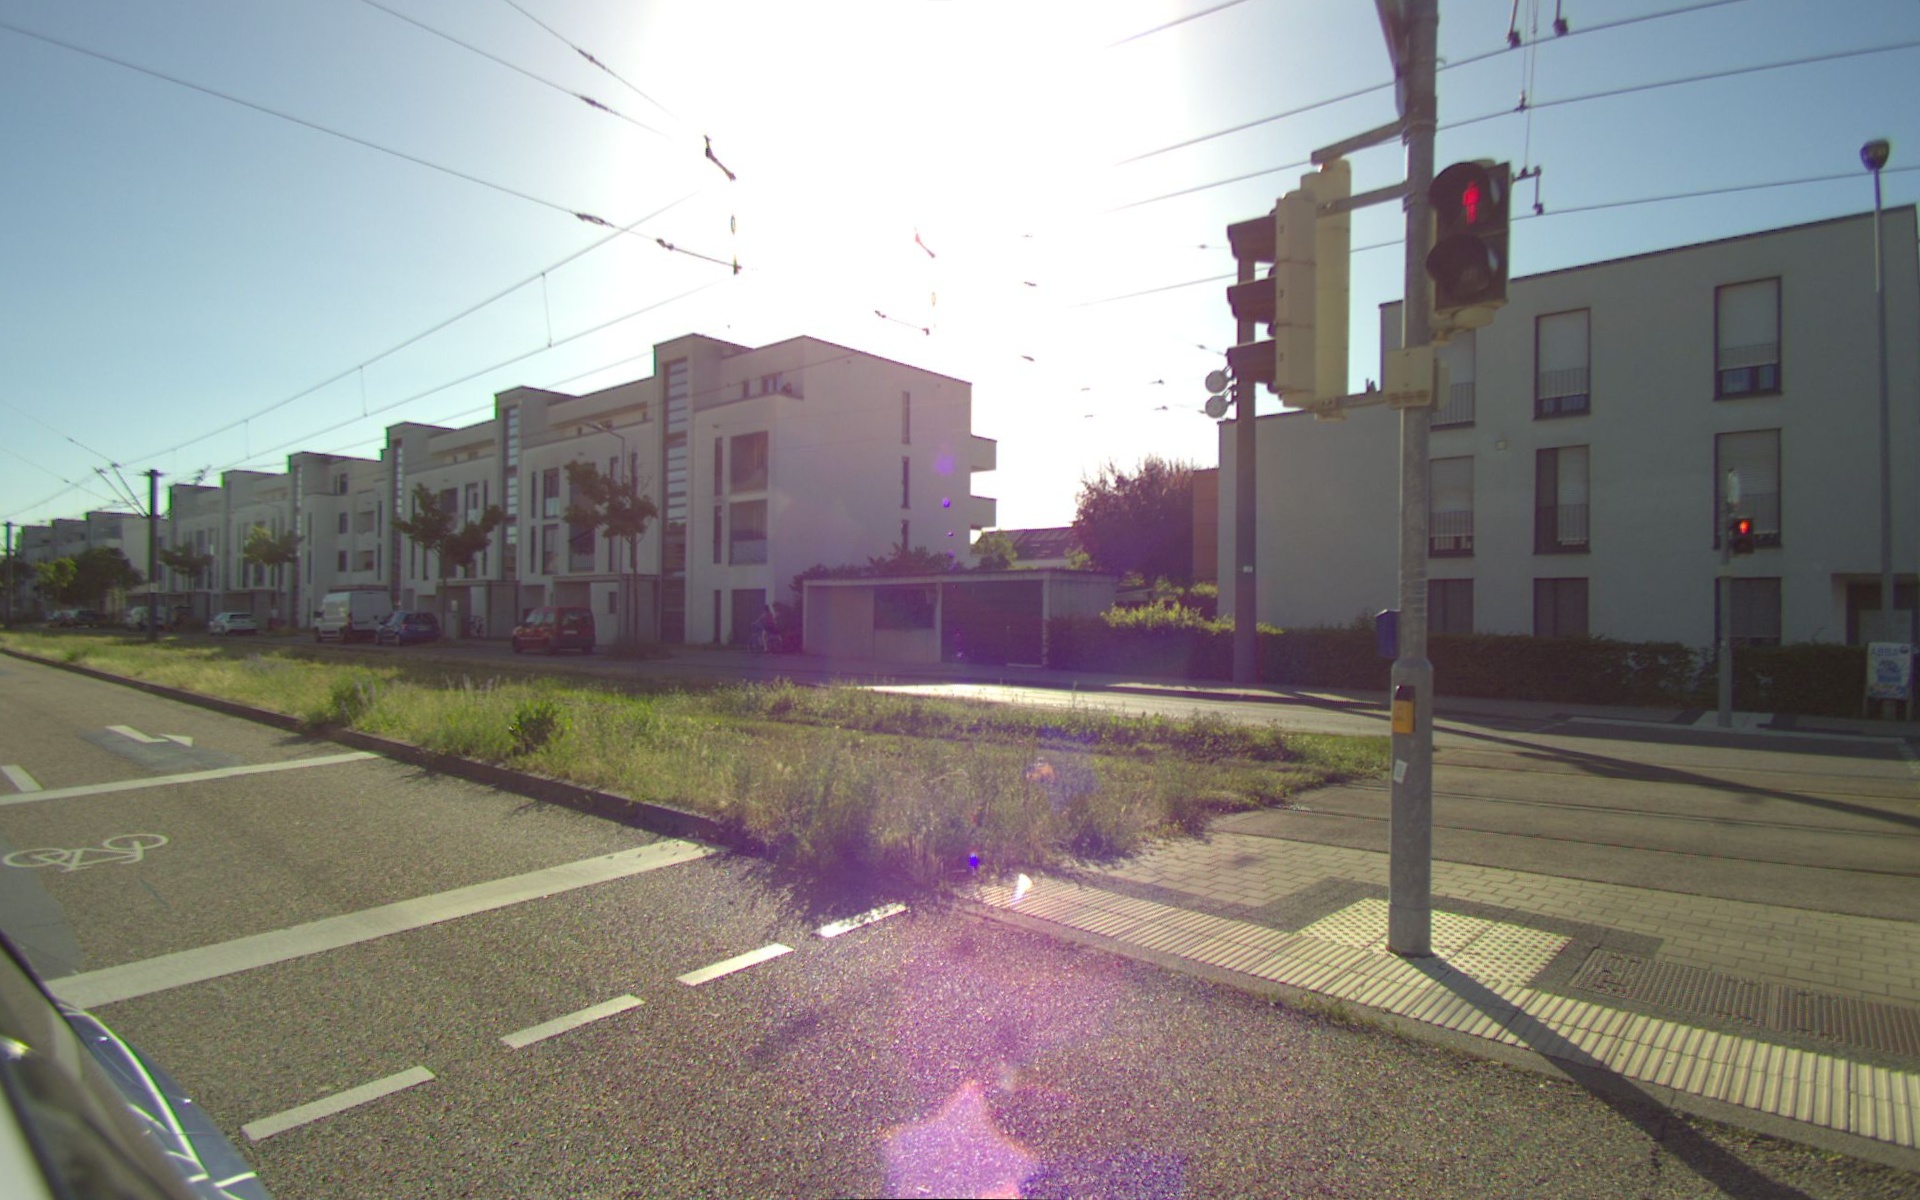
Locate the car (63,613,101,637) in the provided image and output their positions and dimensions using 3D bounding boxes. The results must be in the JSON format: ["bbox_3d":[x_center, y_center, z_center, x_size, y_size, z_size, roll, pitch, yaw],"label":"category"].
[{"bbox_3d":[-77.093,2.155,88.852,3.995,2.029,1.766,-1,0,38],"label":"car"}]

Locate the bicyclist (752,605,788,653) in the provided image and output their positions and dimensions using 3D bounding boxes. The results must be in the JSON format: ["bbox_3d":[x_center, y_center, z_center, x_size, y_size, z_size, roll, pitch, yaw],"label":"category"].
[{"bbox_3d":[-6.110,0.936,32.574,0.744,1.502,0.881,-1,-2,36],"label":"bicyclist"}]

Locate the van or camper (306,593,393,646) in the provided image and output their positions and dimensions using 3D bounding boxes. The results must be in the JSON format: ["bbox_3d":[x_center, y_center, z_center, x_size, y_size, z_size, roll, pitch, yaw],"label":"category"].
[{"bbox_3d":[-30.303,0.971,50.152,5.258,2.483,2.169,-1,-2,42],"label":"van or camper"}]

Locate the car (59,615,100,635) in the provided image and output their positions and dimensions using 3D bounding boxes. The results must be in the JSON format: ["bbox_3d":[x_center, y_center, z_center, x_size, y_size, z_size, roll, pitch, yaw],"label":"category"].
[{"bbox_3d":[-72.168,2.016,82.932,3.492,1.449,1.844,1,1,38],"label":"car"}]

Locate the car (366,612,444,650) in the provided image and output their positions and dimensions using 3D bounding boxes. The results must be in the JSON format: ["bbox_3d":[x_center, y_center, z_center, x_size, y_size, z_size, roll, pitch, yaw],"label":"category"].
[{"bbox_3d":[-25.080,1.395,45.727,3.835,1.625,1.909,-1,-2,42],"label":"car"}]

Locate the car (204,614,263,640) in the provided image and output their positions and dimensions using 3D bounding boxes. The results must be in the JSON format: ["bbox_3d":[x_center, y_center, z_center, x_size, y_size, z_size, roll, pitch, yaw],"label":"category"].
[{"bbox_3d":[-45.756,1.693,63.717,4.117,1.598,2.021,-1,-2,39],"label":"car"}]

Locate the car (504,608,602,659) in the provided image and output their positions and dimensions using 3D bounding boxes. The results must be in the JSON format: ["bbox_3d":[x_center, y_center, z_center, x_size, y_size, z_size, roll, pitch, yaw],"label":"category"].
[{"bbox_3d":[-14.819,1.192,36.752,3.908,1.736,1.769,-1,-3,43],"label":"car"}]

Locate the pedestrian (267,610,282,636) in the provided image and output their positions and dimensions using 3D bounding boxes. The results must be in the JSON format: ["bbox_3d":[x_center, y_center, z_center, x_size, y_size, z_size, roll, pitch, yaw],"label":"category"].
[{"bbox_3d":[-44.355,1.477,65.468,0.611,1.656,0.612,-1,0,35],"label":"pedestrian"}]

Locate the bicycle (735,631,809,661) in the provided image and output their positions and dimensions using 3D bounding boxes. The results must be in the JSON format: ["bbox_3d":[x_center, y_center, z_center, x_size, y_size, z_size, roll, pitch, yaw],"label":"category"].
[{"bbox_3d":[-6.057,1.472,32.514,2.479,0.899,0.891,-1,-2,37],"label":"bicycle"}]

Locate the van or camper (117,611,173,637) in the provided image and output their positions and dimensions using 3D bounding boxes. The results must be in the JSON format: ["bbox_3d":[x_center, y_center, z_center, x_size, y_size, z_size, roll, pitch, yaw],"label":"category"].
[{"bbox_3d":[-62.350,1.811,77.385,6.282,1.862,2.243,-1,-1,41],"label":"van or camper"}]
